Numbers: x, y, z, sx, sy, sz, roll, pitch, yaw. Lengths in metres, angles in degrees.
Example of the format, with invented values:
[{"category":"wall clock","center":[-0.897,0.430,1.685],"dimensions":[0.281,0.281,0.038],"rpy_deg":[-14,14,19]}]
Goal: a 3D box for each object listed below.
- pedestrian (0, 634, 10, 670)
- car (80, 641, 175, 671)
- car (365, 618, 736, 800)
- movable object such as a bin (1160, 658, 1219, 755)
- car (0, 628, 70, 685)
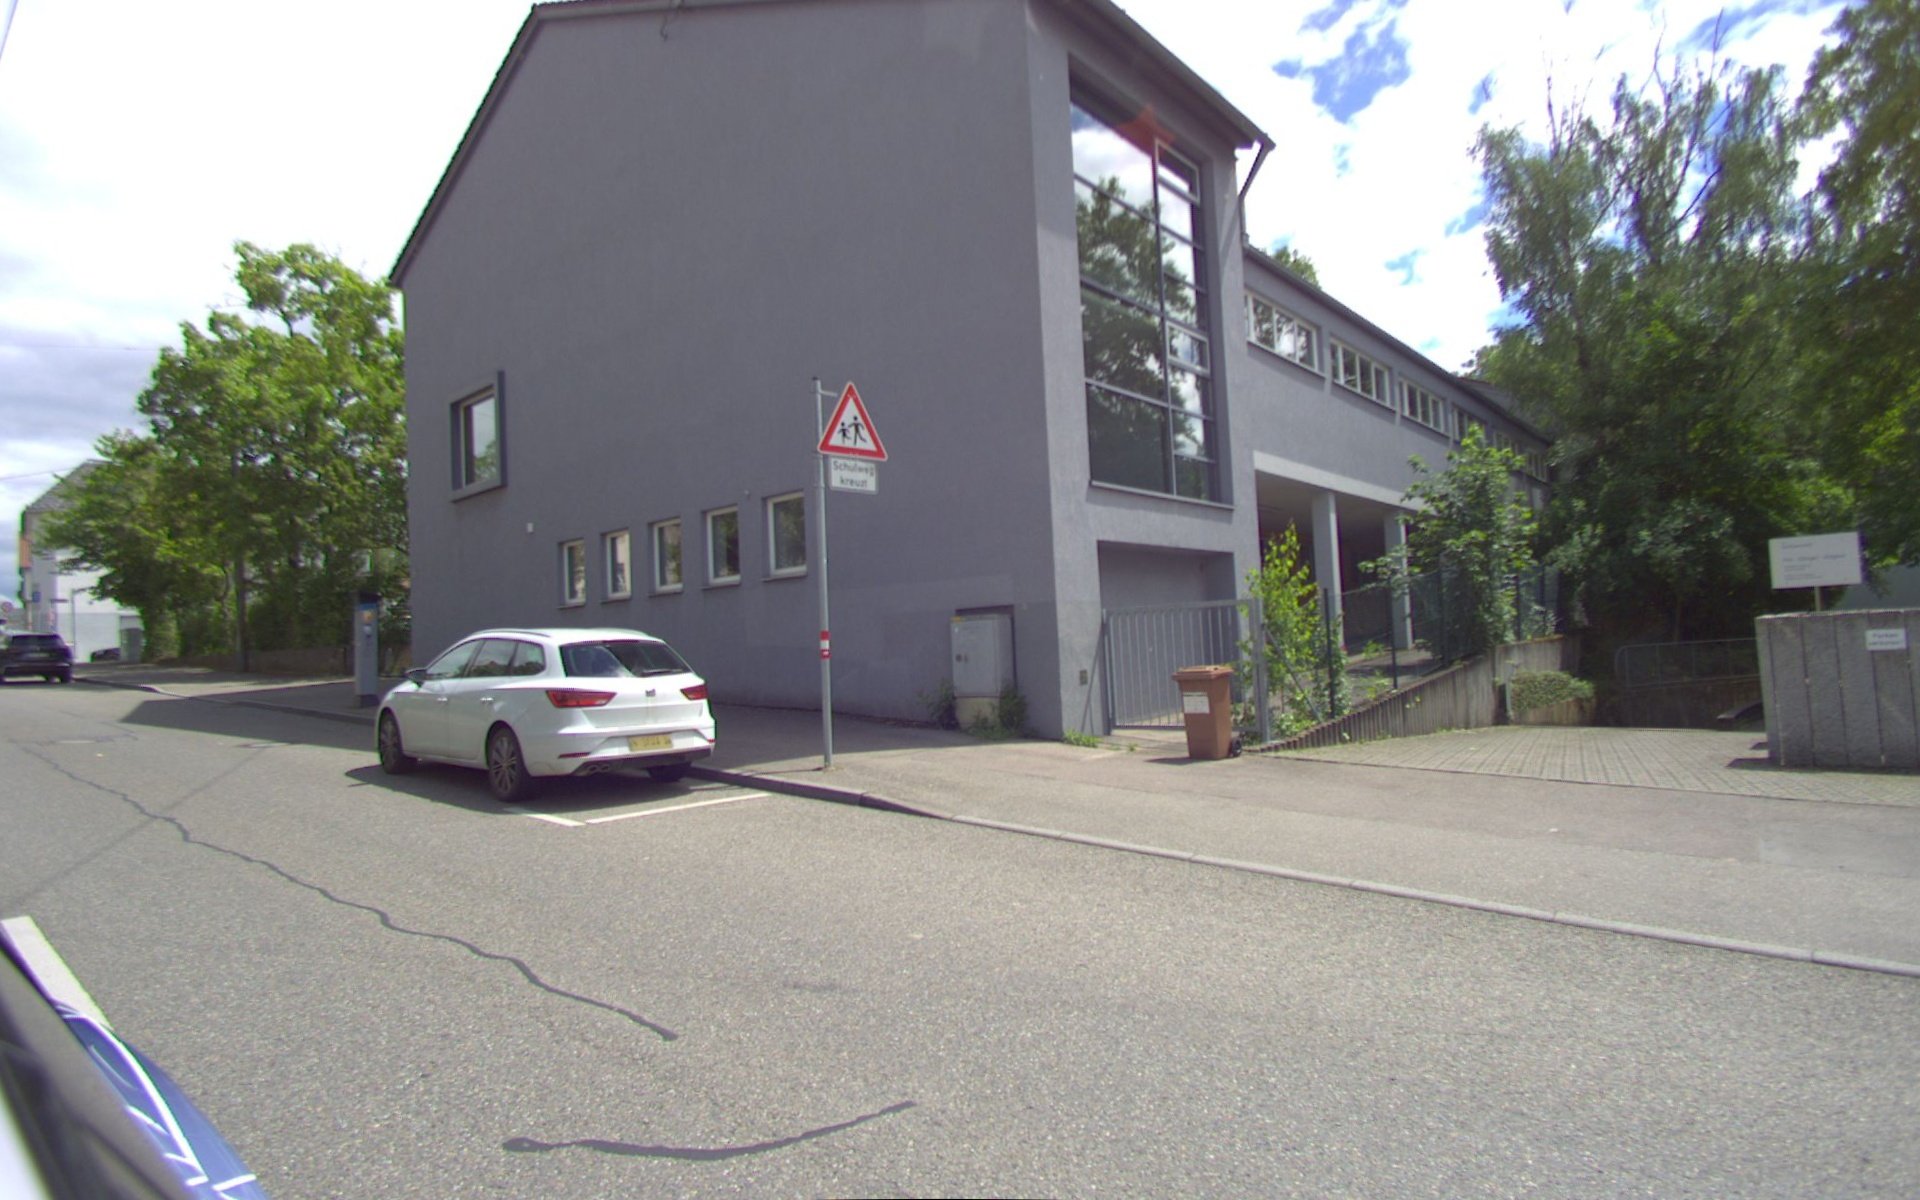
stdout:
[{"category":"pedestrian","center":[-42.779,2.325,44.835],"dimensions":[0.663,1.609,0.771],"rpy_deg":[-2,-1,5]},{"category":"car","center":[-47.628,3.210,57.931],"dimensions":[1.857,1.488,3.946],"rpy_deg":[-6,-4,41]},{"category":"car","center":[-4.083,0.944,9.832],"dimensions":[3.861,1.401,1.680],"rpy_deg":[-3,-2,39]},{"category":"movable object such as a bin","center":[2.318,1.060,10.223],"dimensions":[0.399,0.936,0.449],"rpy_deg":[-3,-3,40]},{"category":"car","center":[-29.311,1.772,31.438],"dimensions":[4.640,1.622,1.778],"rpy_deg":[-3,-2,39]}]
